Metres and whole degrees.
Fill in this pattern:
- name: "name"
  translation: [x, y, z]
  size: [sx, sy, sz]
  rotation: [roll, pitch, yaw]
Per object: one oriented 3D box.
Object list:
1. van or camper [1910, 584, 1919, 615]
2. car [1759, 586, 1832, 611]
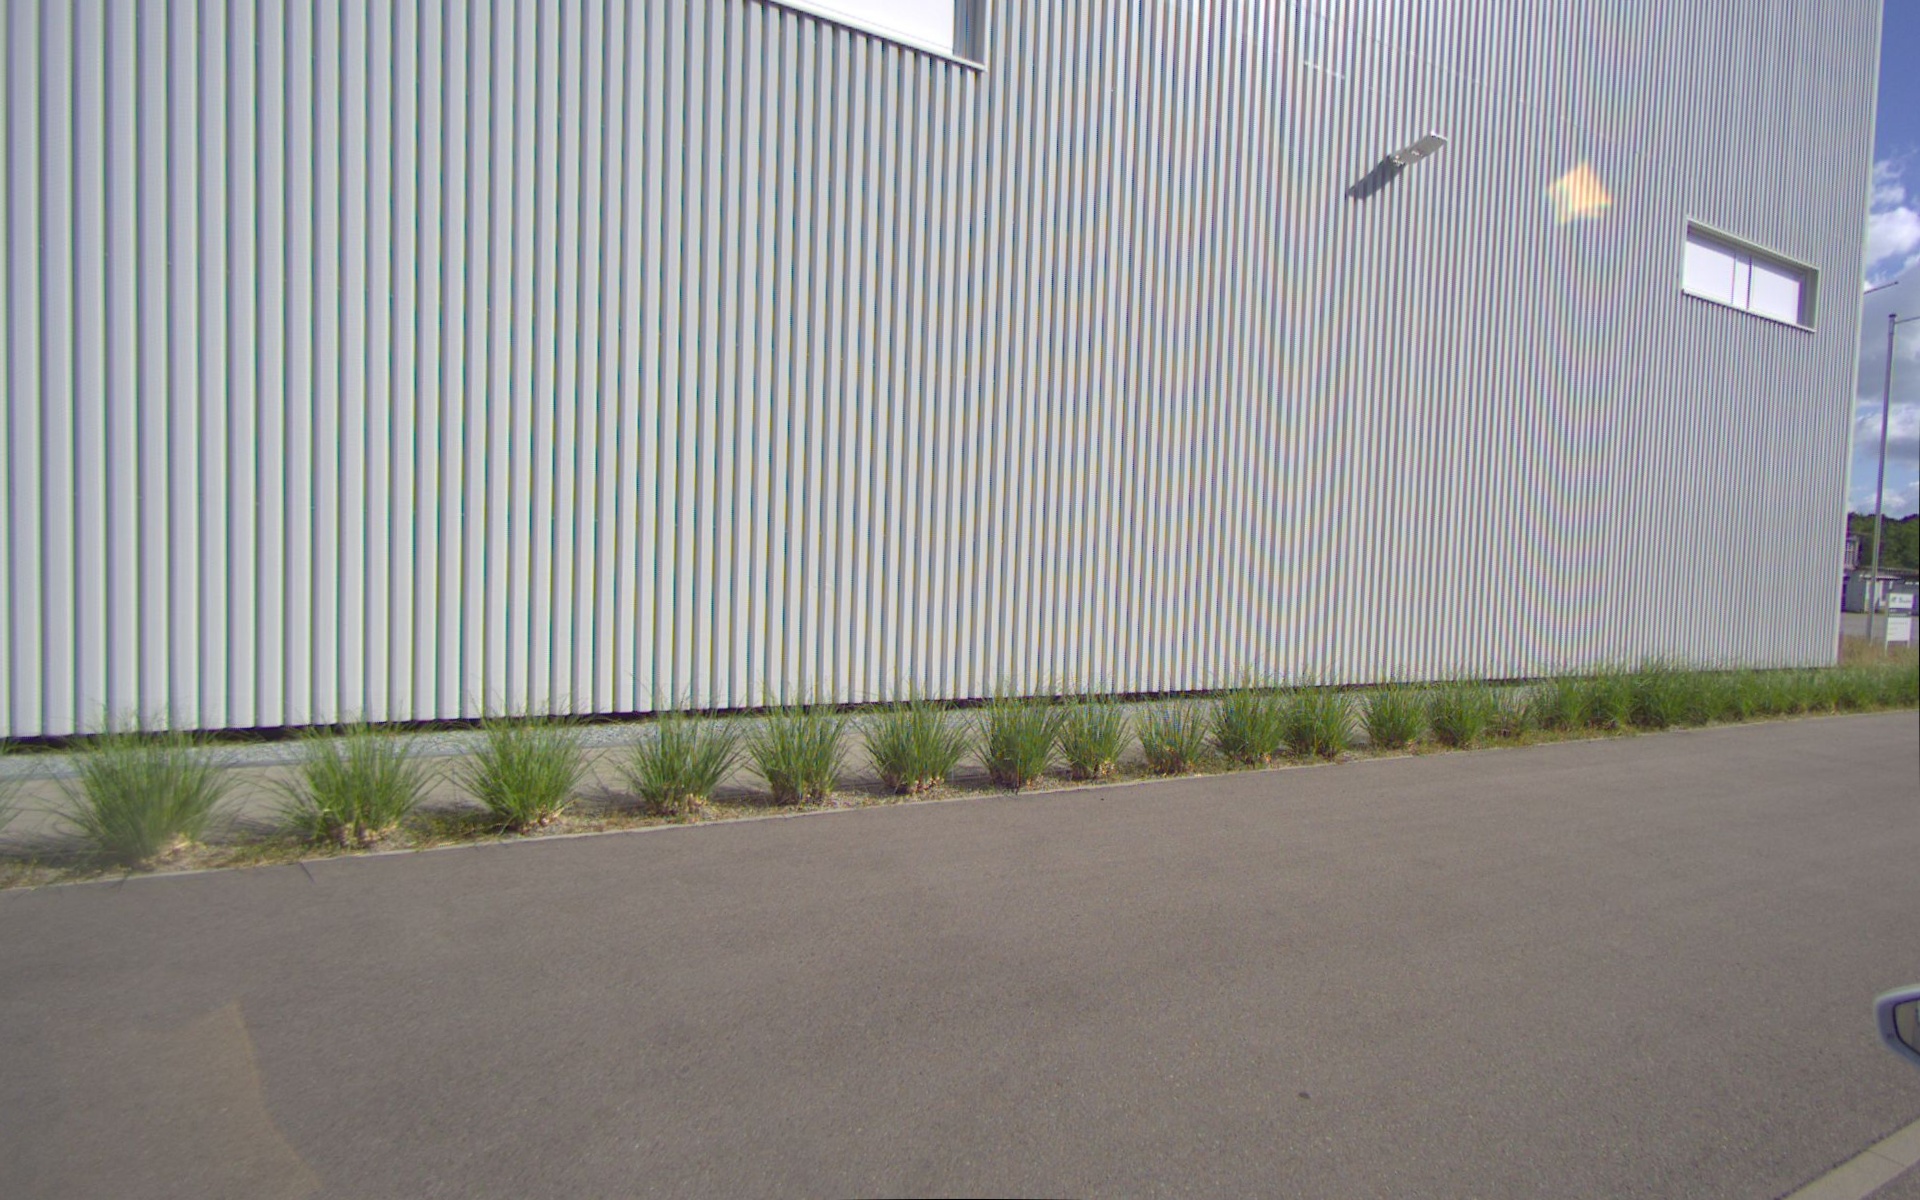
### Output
- name: "van or camper"
  translation: [96.559, 0.043, 97.577]
  size: [2.445, 2.968, 5.685]
  rotation: [1, 2, -31]
- name: "car"
  translation: [65.419, -0.148, 78.729]
  size: [1.979, 1.810, 3.962]
  rotation: [0, 2, -34]
